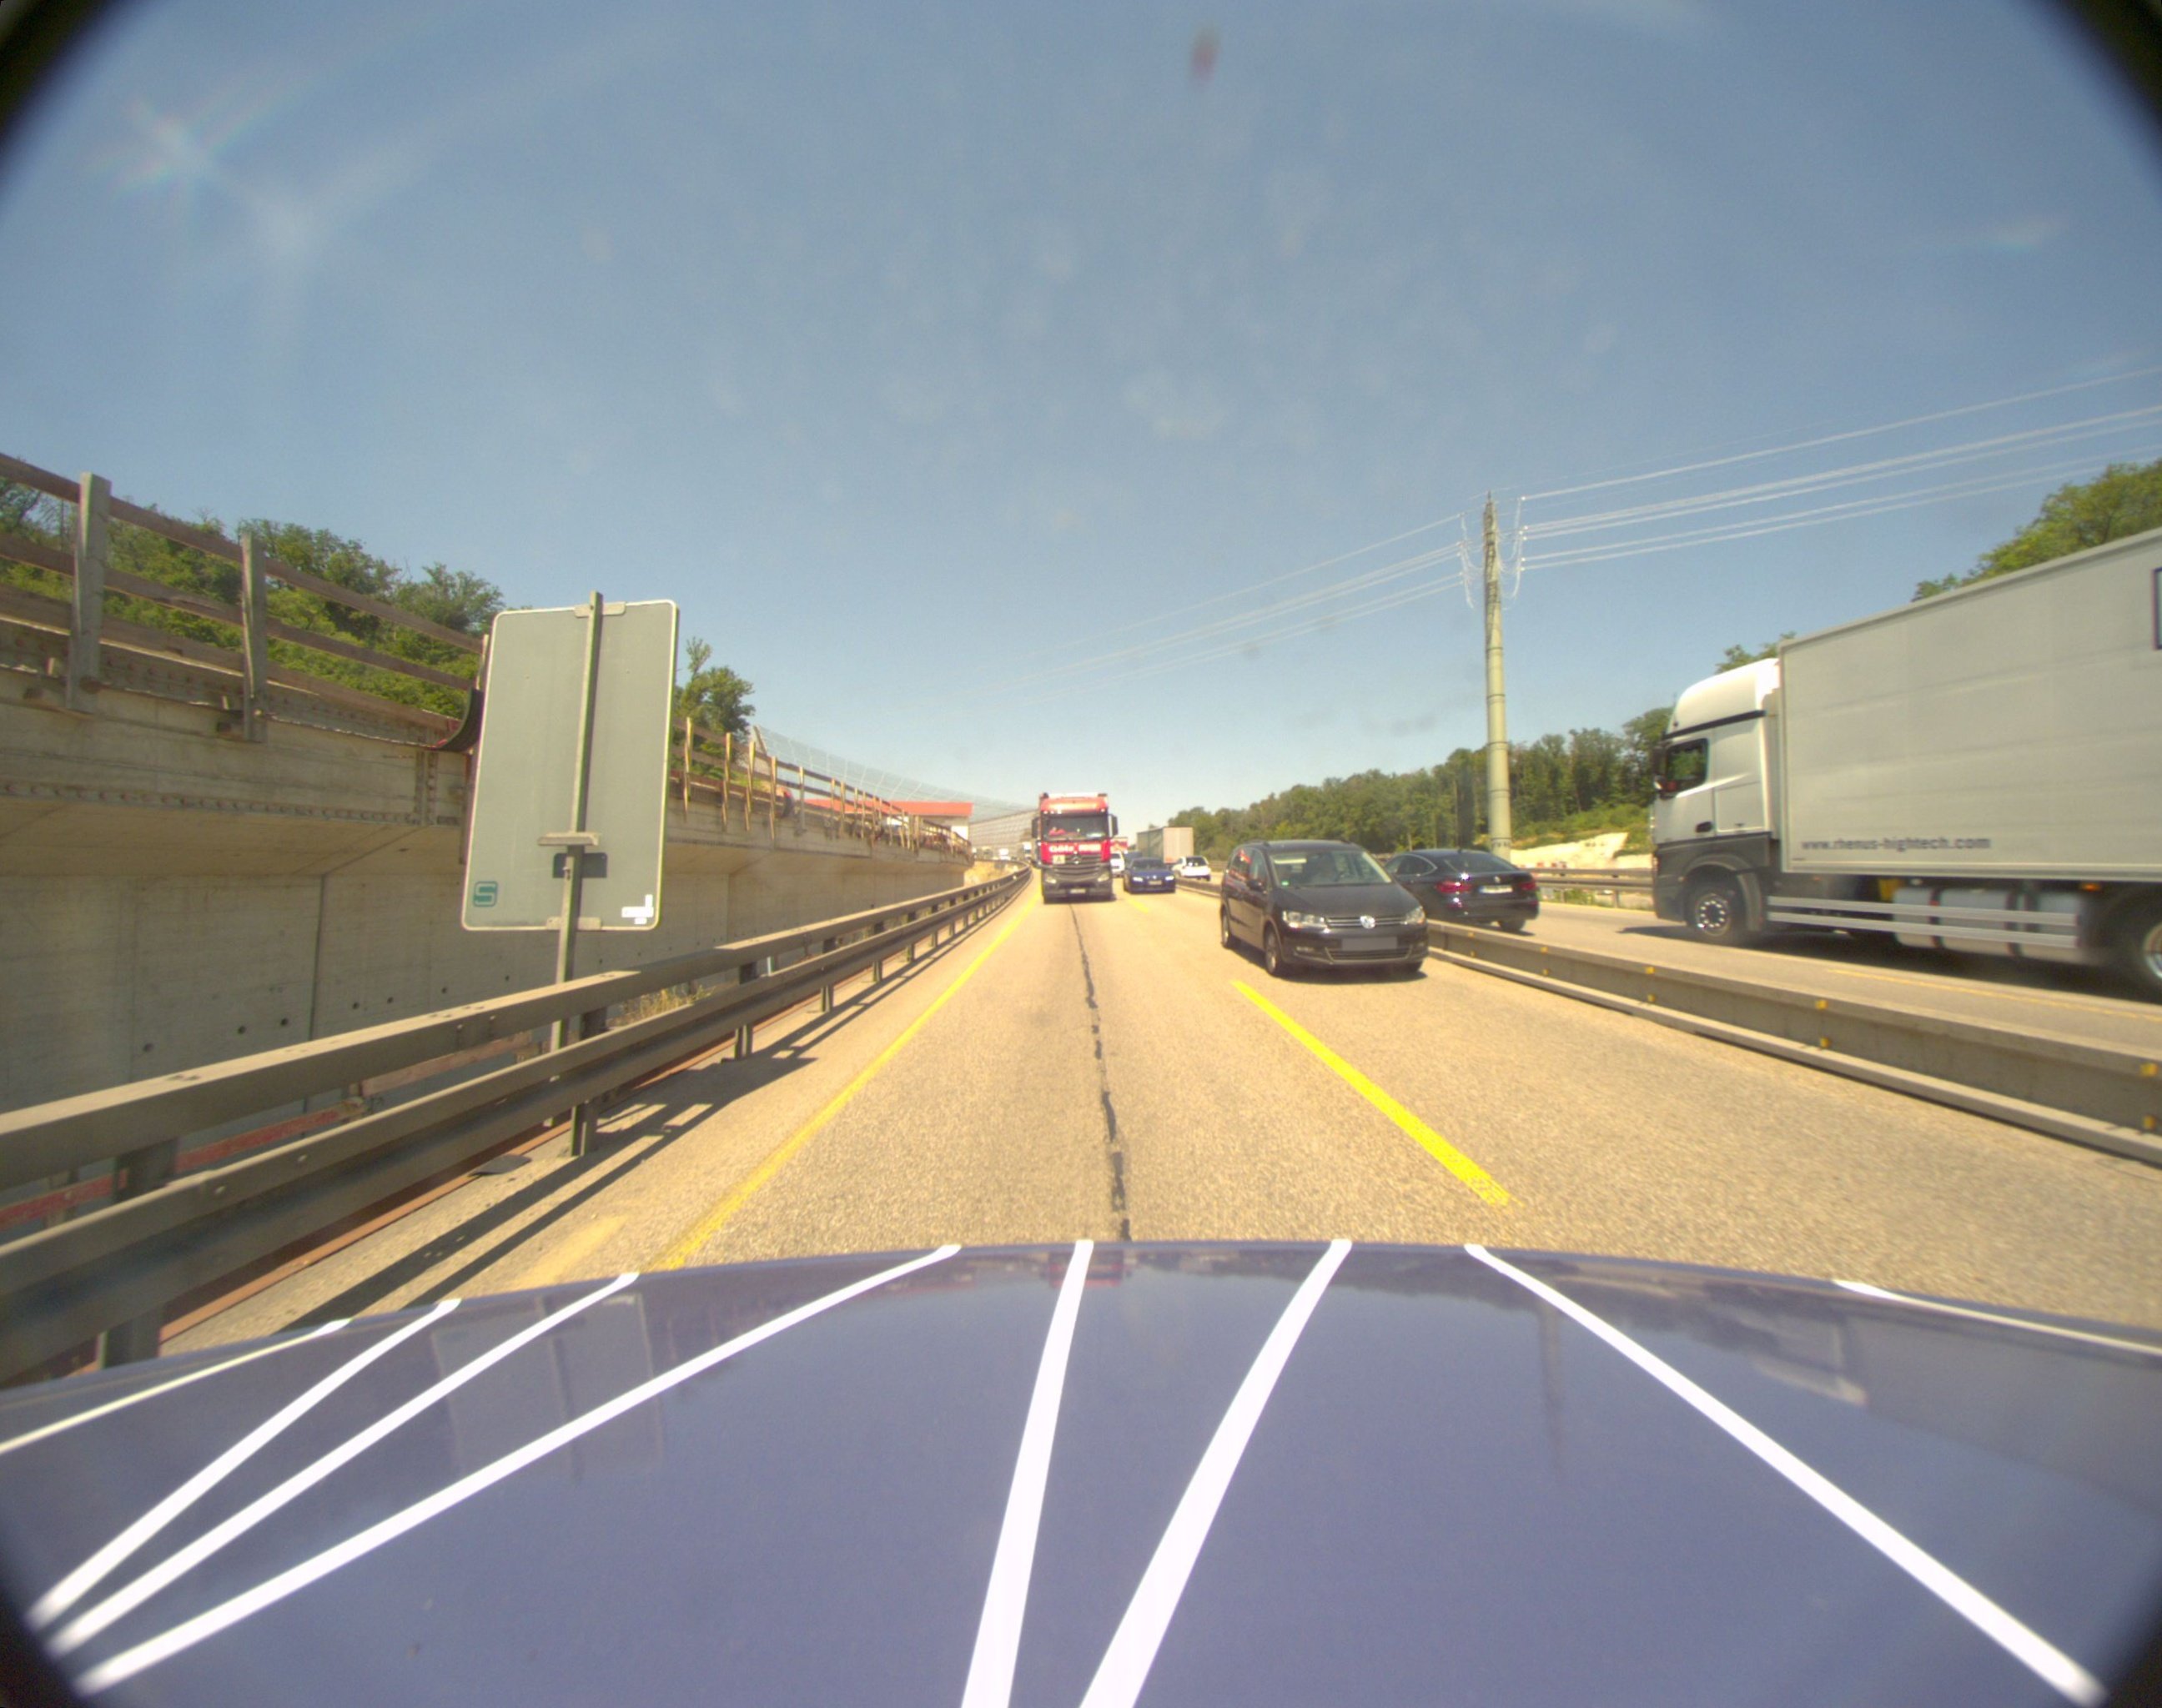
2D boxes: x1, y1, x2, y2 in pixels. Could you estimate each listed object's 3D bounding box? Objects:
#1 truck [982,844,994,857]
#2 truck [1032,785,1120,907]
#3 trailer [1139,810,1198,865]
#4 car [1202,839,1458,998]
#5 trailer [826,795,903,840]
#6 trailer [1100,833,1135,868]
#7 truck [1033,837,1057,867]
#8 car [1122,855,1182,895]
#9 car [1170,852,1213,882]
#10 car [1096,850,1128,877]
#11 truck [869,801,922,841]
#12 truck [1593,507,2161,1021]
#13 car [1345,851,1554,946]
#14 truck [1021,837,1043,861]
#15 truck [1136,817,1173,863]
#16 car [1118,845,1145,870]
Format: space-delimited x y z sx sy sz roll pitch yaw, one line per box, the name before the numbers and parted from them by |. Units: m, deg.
truck | -28.631 -1.049 234.086 3.042 3.725 8.245 -2 1 -4
truck | -0.309 -0.362 30.496 2.799 3.986 10.425 -2 1 -2
trailer | 8.066 -1.423 72.506 2.842 4.614 14.575 -2 0 -4
car | 3.166 0.729 11.019 1.861 1.695 5.303 -2 0 -1
trailer | -21.245 -3.506 75.219 2.714 3.672 9.011 -1 -2 19
trailer | 5.271 -0.515 113.359 3.074 4.787 13.994 -2 0 -6
truck | -5.131 -0.384 107.365 2.673 3.986 10.422 -2 1 -6
car | 2.928 0.842 32.298 1.896 1.546 4.785 -2 0 -2
car | 6.309 0.719 43.669 1.586 1.513 4.152 -2 1 -3
car | 2.240 0.717 56.216 1.947 1.858 5.222 -2 0 -2
truck | -19.522 -3.394 80.304 2.714 3.672 5.721 -1 -2 19
truck | 10.210 -0.754 7.605 2.986 4.137 10.545 -2 0 0
car | 6.700 0.719 14.466 1.786 1.470 4.621 -2 0 1
truck | -9.279 -1.019 143.045 2.912 4.208 9.231 -2 1 -11
truck | 7.601 -1.423 79.412 2.854 4.553 5.786 -2 0 -3
car | 4.782 0.308 72.339 1.999 2.161 4.830 -2 1 -3
